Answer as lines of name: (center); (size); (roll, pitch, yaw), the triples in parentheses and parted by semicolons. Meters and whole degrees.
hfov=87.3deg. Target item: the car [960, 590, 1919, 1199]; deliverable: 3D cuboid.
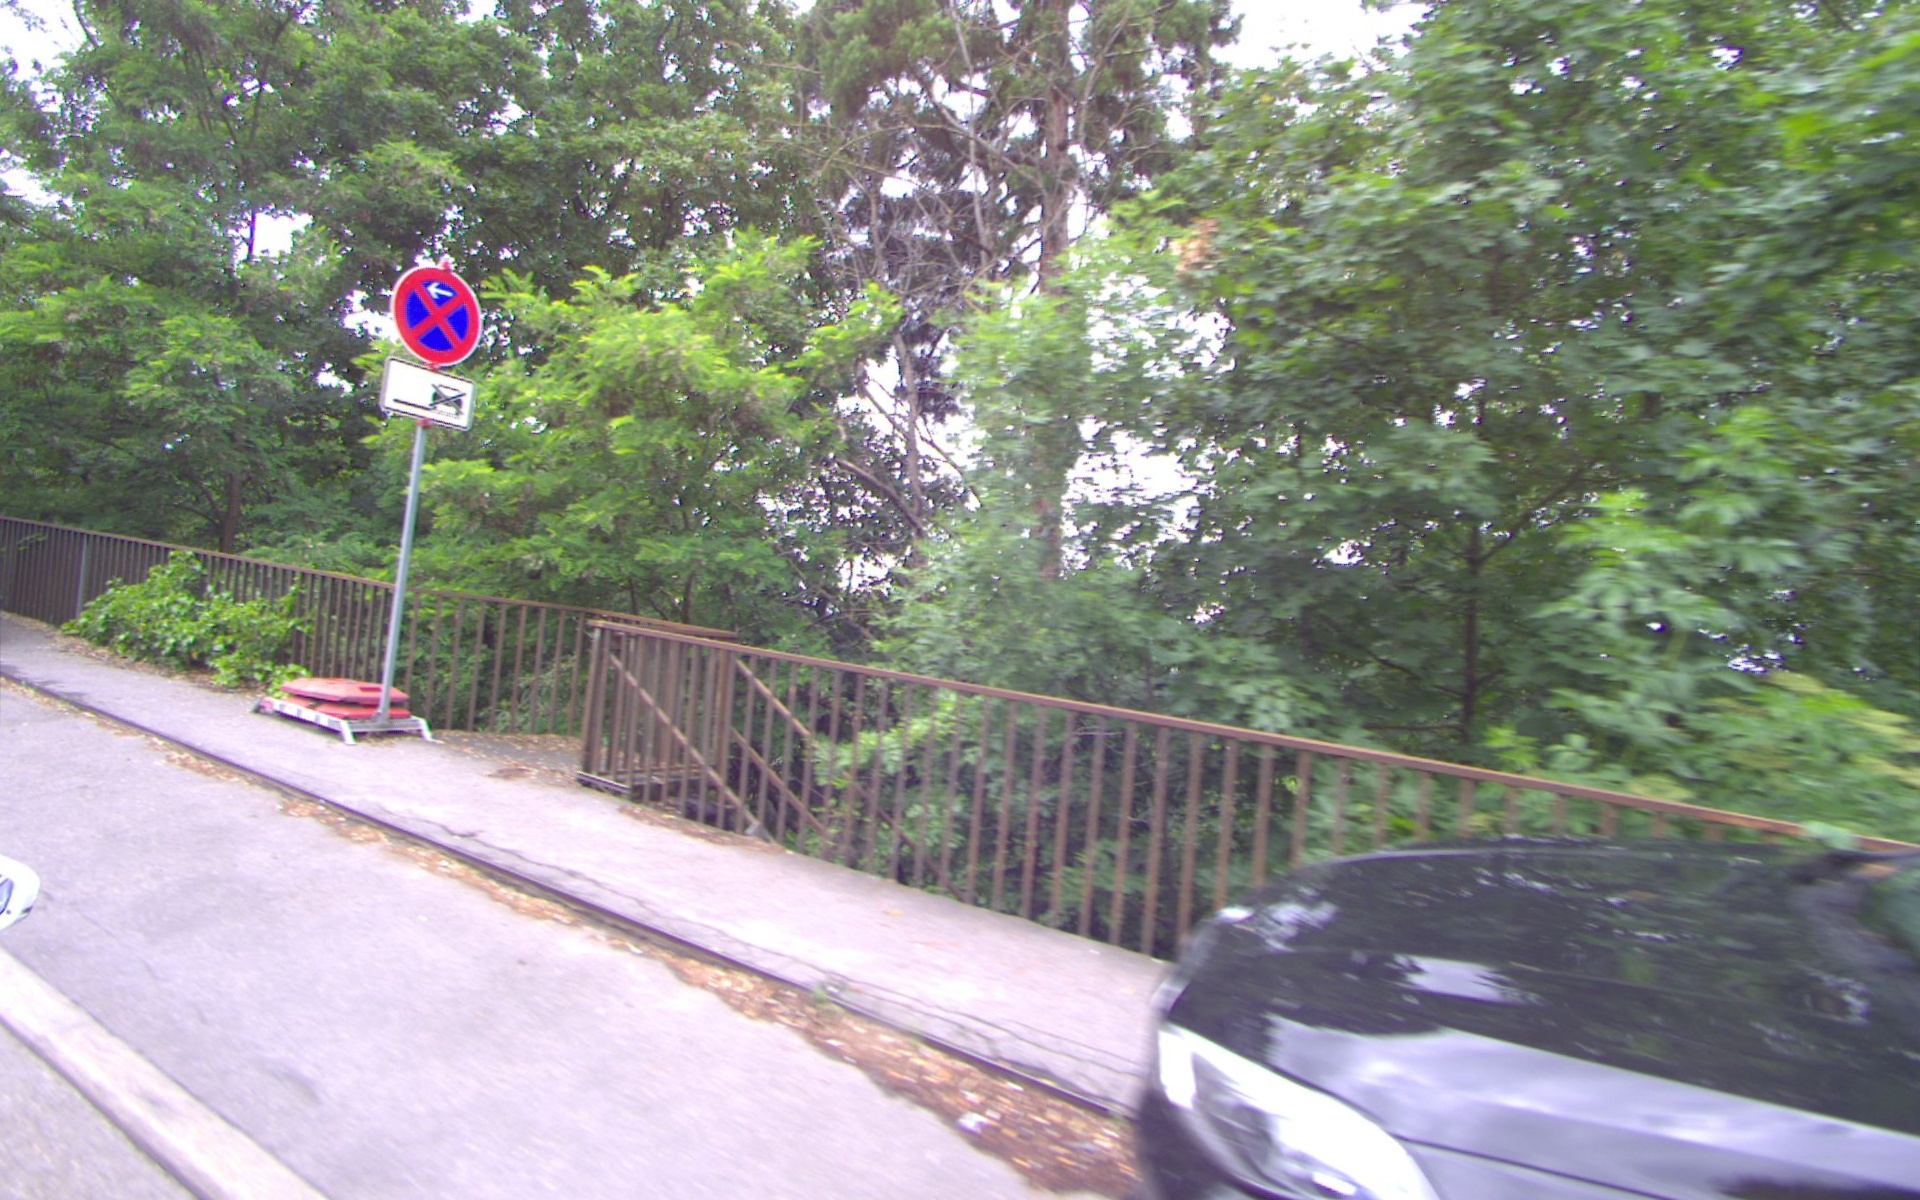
car: (2.261, 0.920, 1.331); (4.161, 1.456, 1.852); (7, 4, 31)

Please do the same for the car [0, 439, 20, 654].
car: (-9.790, -0.631, 8.342); (4.207, 1.697, 1.852); (7, 4, 31)
